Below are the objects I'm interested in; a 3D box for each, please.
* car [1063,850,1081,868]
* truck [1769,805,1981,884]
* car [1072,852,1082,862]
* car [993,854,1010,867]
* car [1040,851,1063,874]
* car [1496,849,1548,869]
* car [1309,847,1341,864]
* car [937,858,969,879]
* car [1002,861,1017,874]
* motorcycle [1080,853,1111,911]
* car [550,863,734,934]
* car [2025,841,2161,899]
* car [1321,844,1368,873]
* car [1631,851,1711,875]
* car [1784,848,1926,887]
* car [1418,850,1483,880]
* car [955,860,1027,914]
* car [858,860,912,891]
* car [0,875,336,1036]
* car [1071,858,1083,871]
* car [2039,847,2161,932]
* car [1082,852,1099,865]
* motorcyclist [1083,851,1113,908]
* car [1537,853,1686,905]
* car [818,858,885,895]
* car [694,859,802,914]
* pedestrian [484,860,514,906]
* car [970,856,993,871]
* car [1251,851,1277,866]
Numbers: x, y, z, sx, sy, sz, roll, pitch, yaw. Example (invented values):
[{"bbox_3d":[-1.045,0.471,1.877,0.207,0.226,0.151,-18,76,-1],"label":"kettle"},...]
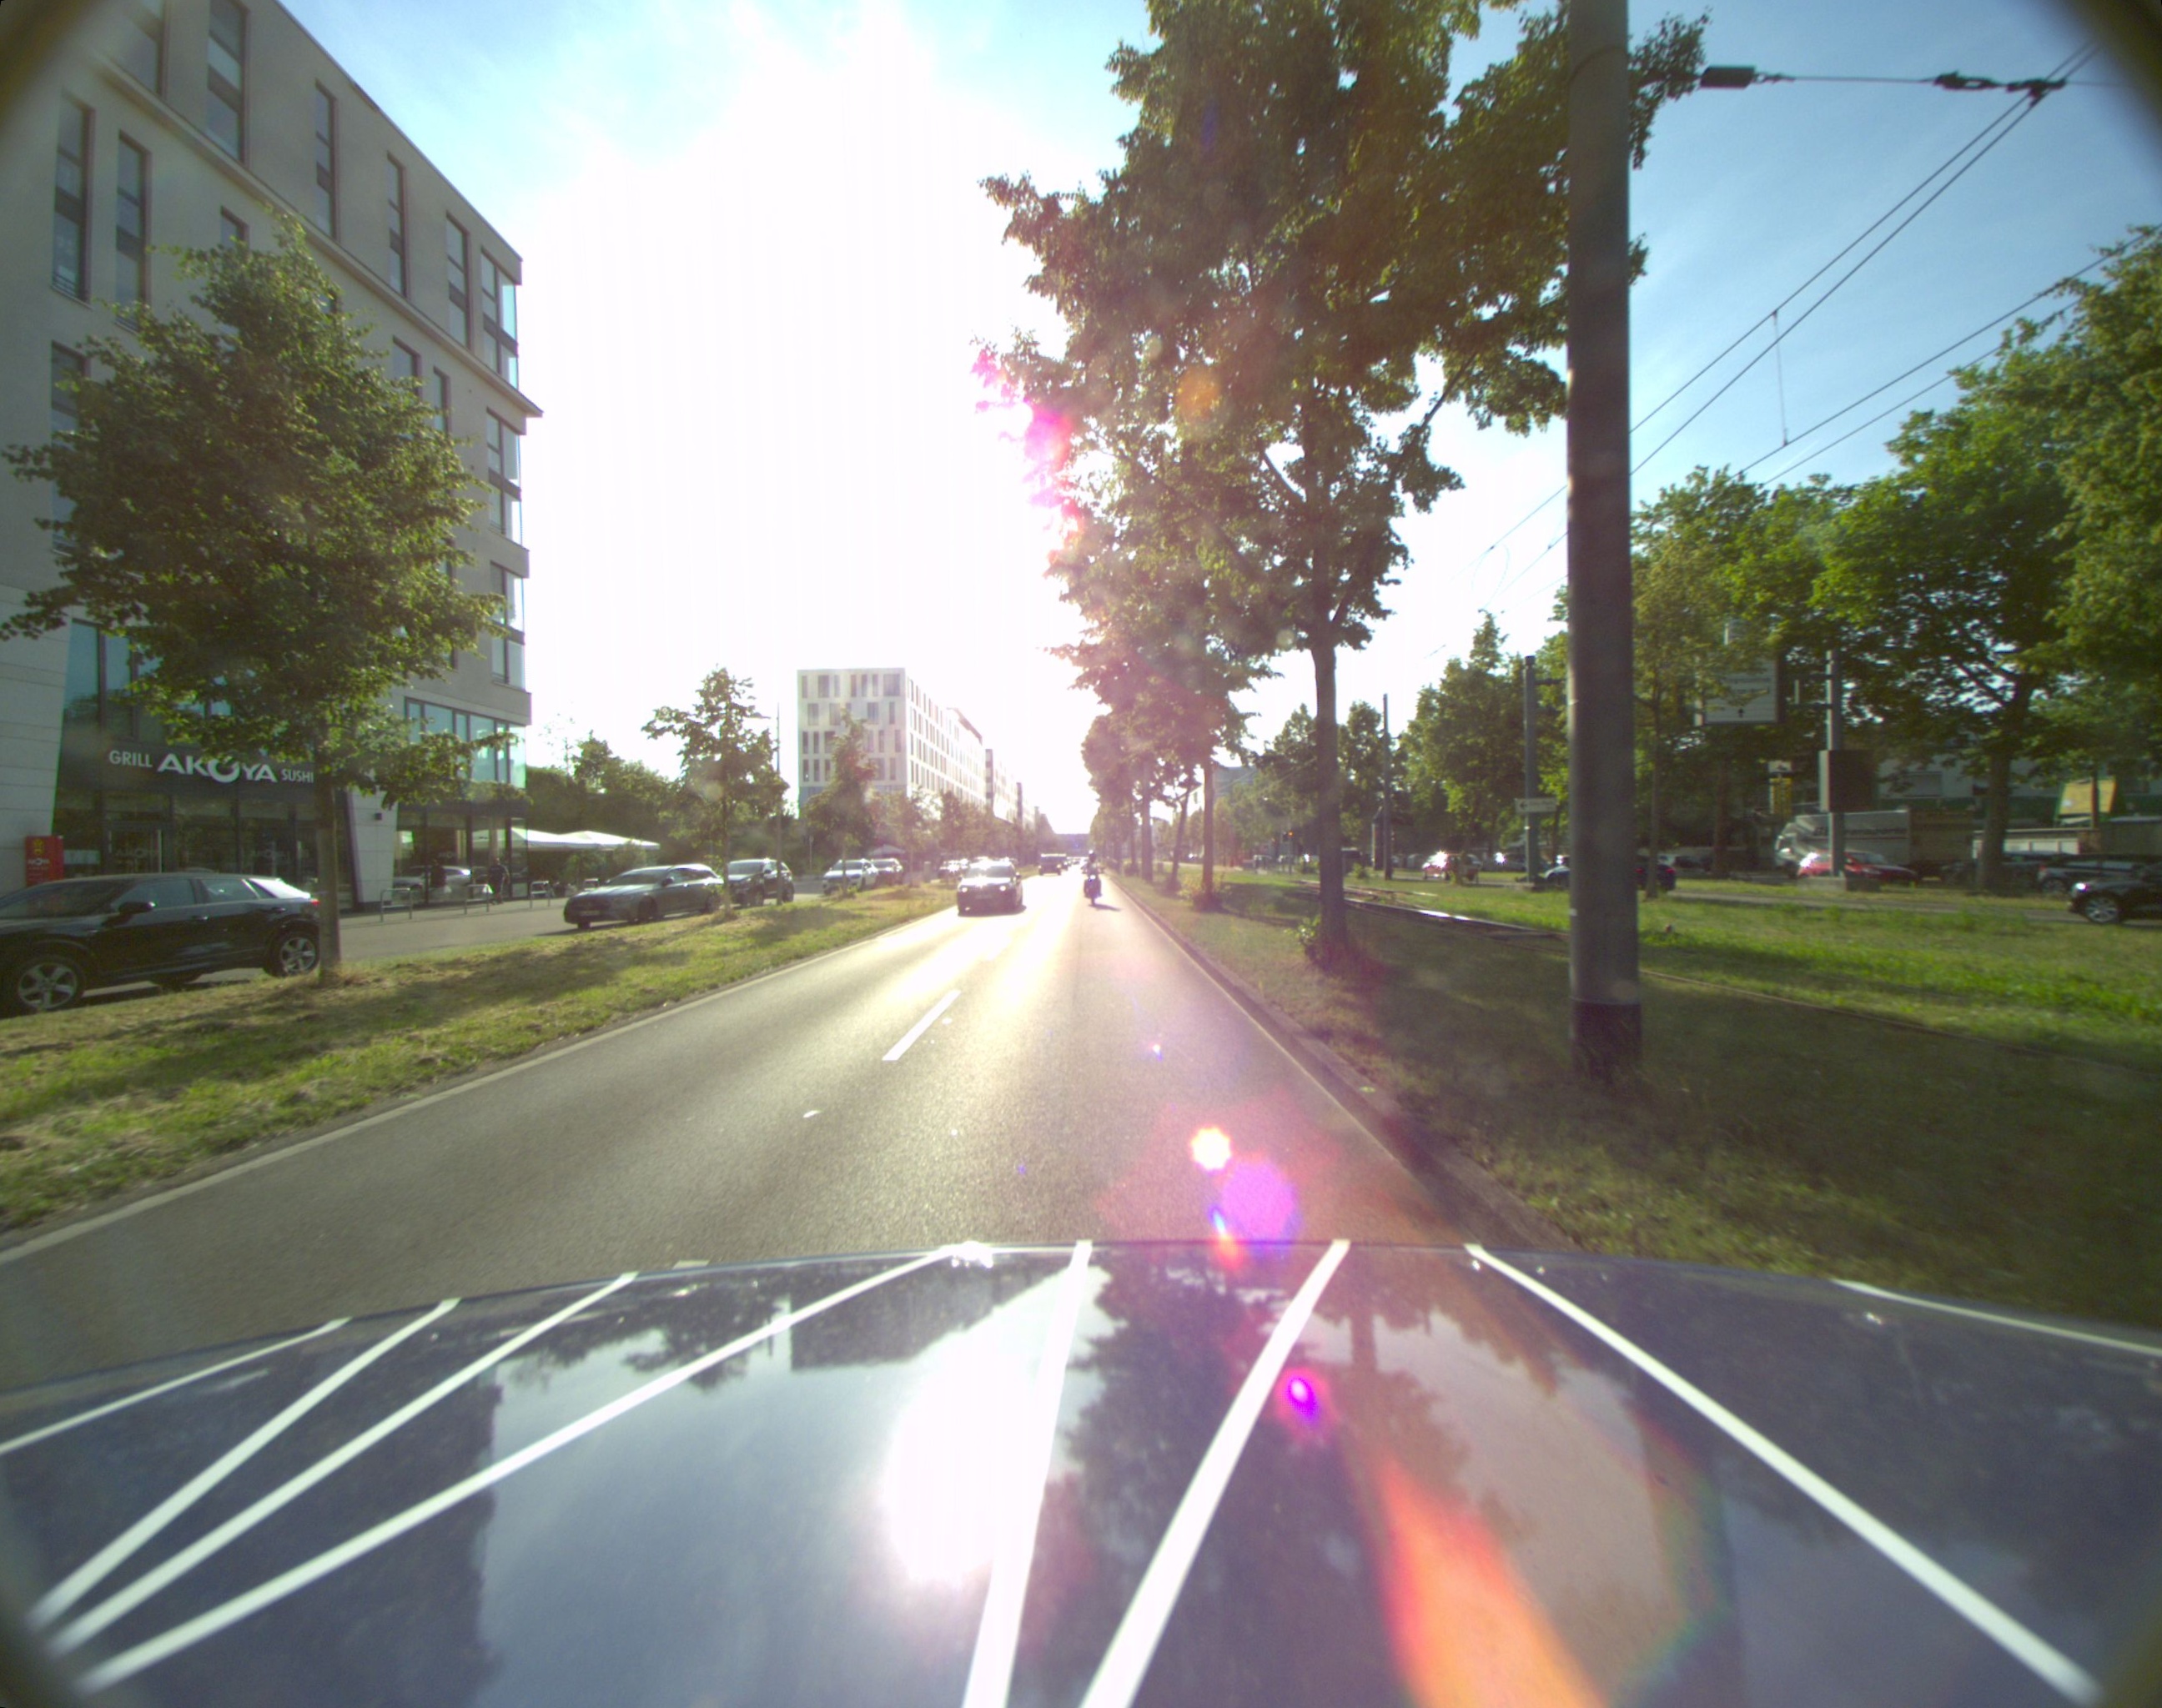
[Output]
[{"bbox_3d":[-0.981,0.564,88.774,1.909,2.002,4.000,-3,1,1],"label":"car"},{"bbox_3d":[39.708,-0.481,38.538,2.895,3.496,7.946,-3,1,5],"label":"truck"},{"bbox_3d":[-0.683,0.585,142.377,1.740,1.777,3.893,-3,1,1],"label":"car"},{"bbox_3d":[-10.773,0.840,103.273,1.840,1.521,4.327,-3,1,0],"label":"car"},{"bbox_3d":[-2.604,0.729,68.659,1.803,1.880,4.820,-3,1,0],"label":"car"},{"bbox_3d":[31.248,0.338,53.955,1.456,1.275,3.783,-3,1,0],"label":"car"},{"bbox_3d":[22.019,0.131,68.707,1.685,1.439,3.958,-3,1,3],"label":"car"},{"bbox_3d":[-10.889,1.207,64.889,1.840,1.521,4.327,-3,1,0],"label":"car"},{"bbox_3d":[-10.460,1.929,111.188,1.740,1.777,3.893,-3,1,0],"label":"car"},{"bbox_3d":[0.424,0.816,23.577,0.798,1.659,2.634,-3,1,-1],"label":"motorcycle"},{"bbox_3d":[-11.487,1.083,20.393,1.764,1.479,4.919,-3,1,4],"label":"car"},{"bbox_3d":[28.367,0.395,20.178,1.675,1.423,3.959,-3,1,0],"label":"car"},{"bbox_3d":[18.104,0.265,52.374,1.686,1.853,4.218,-3,1,0],"label":"car"},{"bbox_3d":[30.202,0.424,39.038,1.301,1.101,3.772,-3,1,3],"label":"car"},{"bbox_3d":[28.841,0.468,28.482,1.586,1.269,3.961,-3,1,7],"label":"car"},{"bbox_3d":[20.483,0.554,42.304,1.686,1.515,3.929,-2,1,0],"label":"car"},{"bbox_3d":[-2.756,0.967,24.112,1.698,1.416,4.039,-3,1,0],"label":"car"},{"bbox_3d":[-11.071,1.174,43.129,1.840,1.521,4.327,-3,1,0],"label":"car"},{"bbox_3d":[-11.677,1.100,8.904,1.765,1.479,4.209,-3,1,-2],"label":"car"},{"bbox_3d":[-0.597,1.667,121.055,1.740,1.777,3.893,-3,1,1],"label":"car"},{"bbox_3d":[20.069,0.645,13.226,1.686,1.427,4.035,-3,1,1],"label":"car"},{"bbox_3d":[1.134,0.543,92.684,1.756,1.427,4.034,-3,1,-2],"label":"car"},{"bbox_3d":[0.521,0.790,23.657,0.814,1.699,0.843,-3,1,-1],"label":"motorcyclist"},{"bbox_3d":[17.385,0.759,25.220,1.686,1.427,4.670,-3,1,1],"label":"car"},{"bbox_3d":[-11.127,1.055,37.171,1.840,1.521,4.327,-3,1,0],"label":"car"},{"bbox_3d":[-11.372,1.054,26.304,1.764,1.588,4.327,-3,1,0],"label":"car"},{"bbox_3d":[-20.733,1.017,27.076,0.499,1.591,0.572,-3,1,0],"label":"pedestrian"},{"bbox_3d":[-10.893,1.039,83.532,1.840,1.521,4.327,-3,1,0],"label":"car"},{"bbox_3d":[18.496,0.465,76.864,1.685,1.364,3.957,-3,1,1],"label":"car"}]
